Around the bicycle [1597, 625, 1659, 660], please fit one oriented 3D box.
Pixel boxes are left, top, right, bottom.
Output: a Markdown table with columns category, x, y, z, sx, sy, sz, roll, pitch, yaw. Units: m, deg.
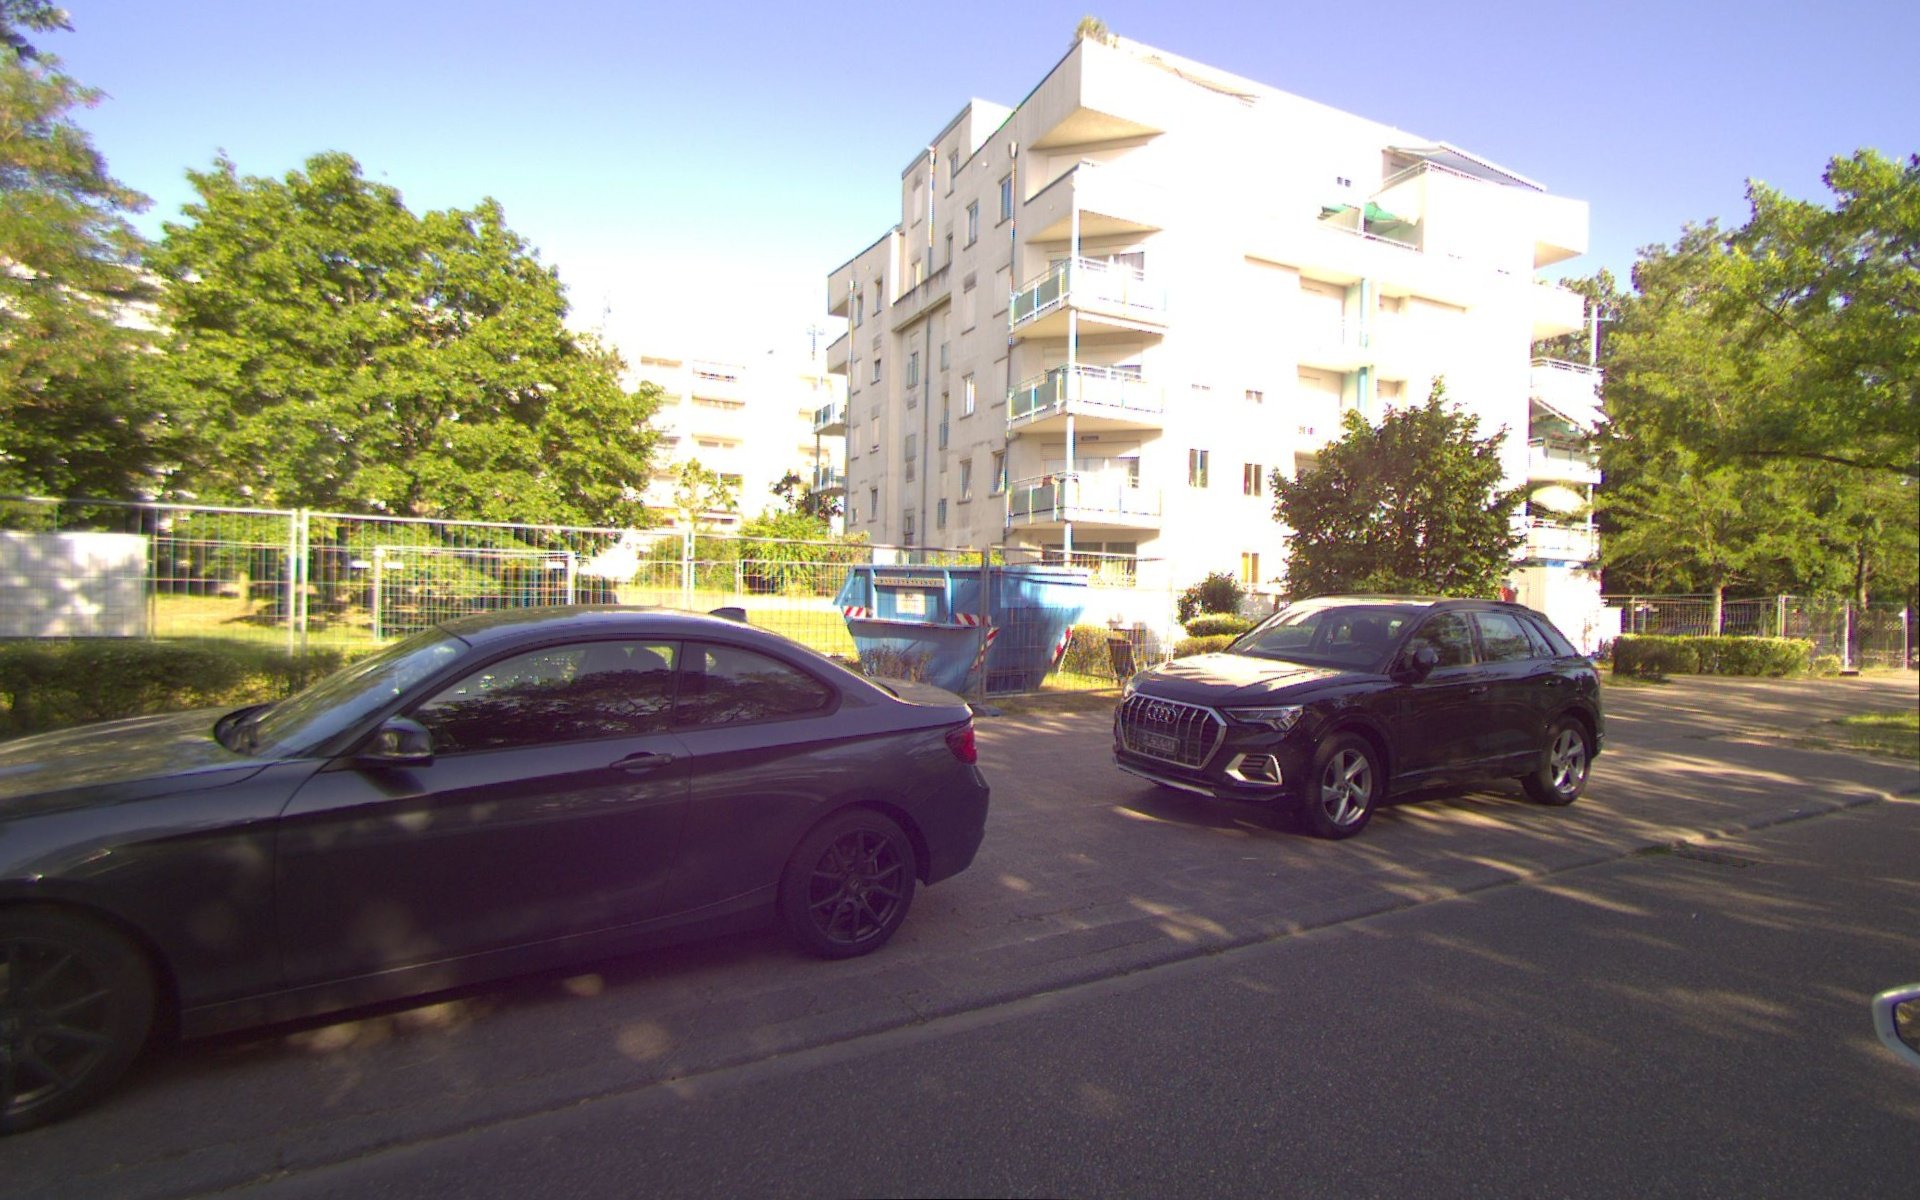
| category | x | y | z | sx | sy | sz | roll | pitch | yaw |
| --- | --- | --- | --- | --- | --- | --- | --- | --- | --- |
| bicycle | 21.565 | 1.367 | 32.456 | 0.395 | 1.040 | 1.690 | 2 | -1 | -24 |

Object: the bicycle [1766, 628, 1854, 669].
| category | x | y | z | sx | sy | sz | roll | pitch | yaw |
| --- | --- | --- | --- | --- | --- | --- | --- | --- | --- |
| bicycle | 23.689 | 1.339 | 28.029 | 0.398 | 1.040 | 1.820 | 2 | -1 | -43 |

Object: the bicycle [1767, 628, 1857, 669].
| category | x | y | z | sx | sy | sz | roll | pitch | yaw |
| --- | --- | --- | --- | --- | --- | --- | --- | --- | --- |
| bicycle | 24.033 | 1.355 | 28.351 | 0.398 | 1.040 | 1.896 | 2 | -1 | -43 |

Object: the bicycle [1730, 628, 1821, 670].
| category | x | y | z | sx | sy | sz | roll | pitch | yaw |
| --- | --- | --- | --- | --- | --- | --- | --- | --- | --- |
| bicycle | 21.750 | 1.295 | 26.824 | 0.398 | 1.040 | 1.851 | 2 | -1 | -43 |

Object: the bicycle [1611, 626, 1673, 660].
| category | x | y | z | sx | sy | sz | roll | pitch | yaw |
| --- | --- | --- | --- | --- | --- | --- | --- | --- | --- |
| bicycle | 22.189 | 1.383 | 32.709 | 0.395 | 1.040 | 1.690 | 2 | -1 | -24 |

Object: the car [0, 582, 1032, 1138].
| category | x | y | z | sx | sy | sz | roll | pitch | yaw |
| --- | --- | --- | --- | --- | --- | --- | --- | --- | --- |
| car | -1.838 | 0.720 | 4.243 | 4.095 | 1.452 | 1.705 | 1 | 2 | -35 |

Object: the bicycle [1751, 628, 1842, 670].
| category | x | y | z | sx | sy | sz | roll | pitch | yaw |
| --- | --- | --- | --- | --- | --- | --- | --- | --- | --- |
| bicycle | 22.612 | 1.300 | 27.191 | 0.398 | 1.040 | 1.838 | 2 | -1 | -43 |

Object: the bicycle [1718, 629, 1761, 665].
| category | x | y | z | sx | sy | sz | roll | pitch | yaw |
| --- | --- | --- | --- | --- | --- | --- | --- | --- | --- |
| bicycle | 23.808 | 1.435 | 30.680 | 1.680 | 1.040 | 0.397 | 2 | -1 | -29 |

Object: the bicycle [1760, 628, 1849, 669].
| category | x | y | z | sx | sy | sz | roll | pitch | yaw |
| --- | --- | --- | --- | --- | --- | --- | --- | --- | --- |
| bicycle | 23.025 | 1.315 | 27.411 | 0.398 | 1.040 | 1.821 | 2 | -1 | -43 |

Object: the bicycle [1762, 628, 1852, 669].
| category | x | y | z | sx | sy | sz | roll | pitch | yaw |
| --- | --- | --- | --- | --- | --- | --- | --- | --- | --- |
| bicycle | 23.369 | 1.330 | 27.748 | 0.398 | 1.040 | 1.841 | 2 | -1 | -43 |

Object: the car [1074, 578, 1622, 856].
| category | x | y | z | sx | sy | sz | roll | pitch | yaw |
| --- | --- | --- | --- | --- | --- | --- | --- | --- | --- |
| car | 3.114 | 0.730 | 7.865 | 4.171 | 1.643 | 1.766 | 1 | 2 | -31 |

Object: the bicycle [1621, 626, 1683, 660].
| category | x | y | z | sx | sy | sz | roll | pitch | yaw |
| --- | --- | --- | --- | --- | --- | --- | --- | --- | --- |
| bicycle | 22.686 | 1.410 | 32.943 | 0.395 | 1.040 | 1.690 | 2 | -1 | -24 |

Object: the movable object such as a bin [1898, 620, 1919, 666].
| category | x | y | z | sx | sy | sz | roll | pitch | yaw |
| --- | --- | --- | --- | --- | --- | --- | --- | --- | --- |
| movable object such as a bin | 31.055 | 1.371 | 31.915 | 1.300 | 1.454 | 1.273 | 1 | 0 | -2 |

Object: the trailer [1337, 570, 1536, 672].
| category | x | y | z | sx | sy | sz | roll | pitch | yaw |
| --- | --- | --- | --- | --- | --- | --- | --- | --- | --- |
| trailer | 10.974 | 0.464 | 23.106 | 4.290 | 2.149 | 1.856 | 1 | 2 | -27 |
